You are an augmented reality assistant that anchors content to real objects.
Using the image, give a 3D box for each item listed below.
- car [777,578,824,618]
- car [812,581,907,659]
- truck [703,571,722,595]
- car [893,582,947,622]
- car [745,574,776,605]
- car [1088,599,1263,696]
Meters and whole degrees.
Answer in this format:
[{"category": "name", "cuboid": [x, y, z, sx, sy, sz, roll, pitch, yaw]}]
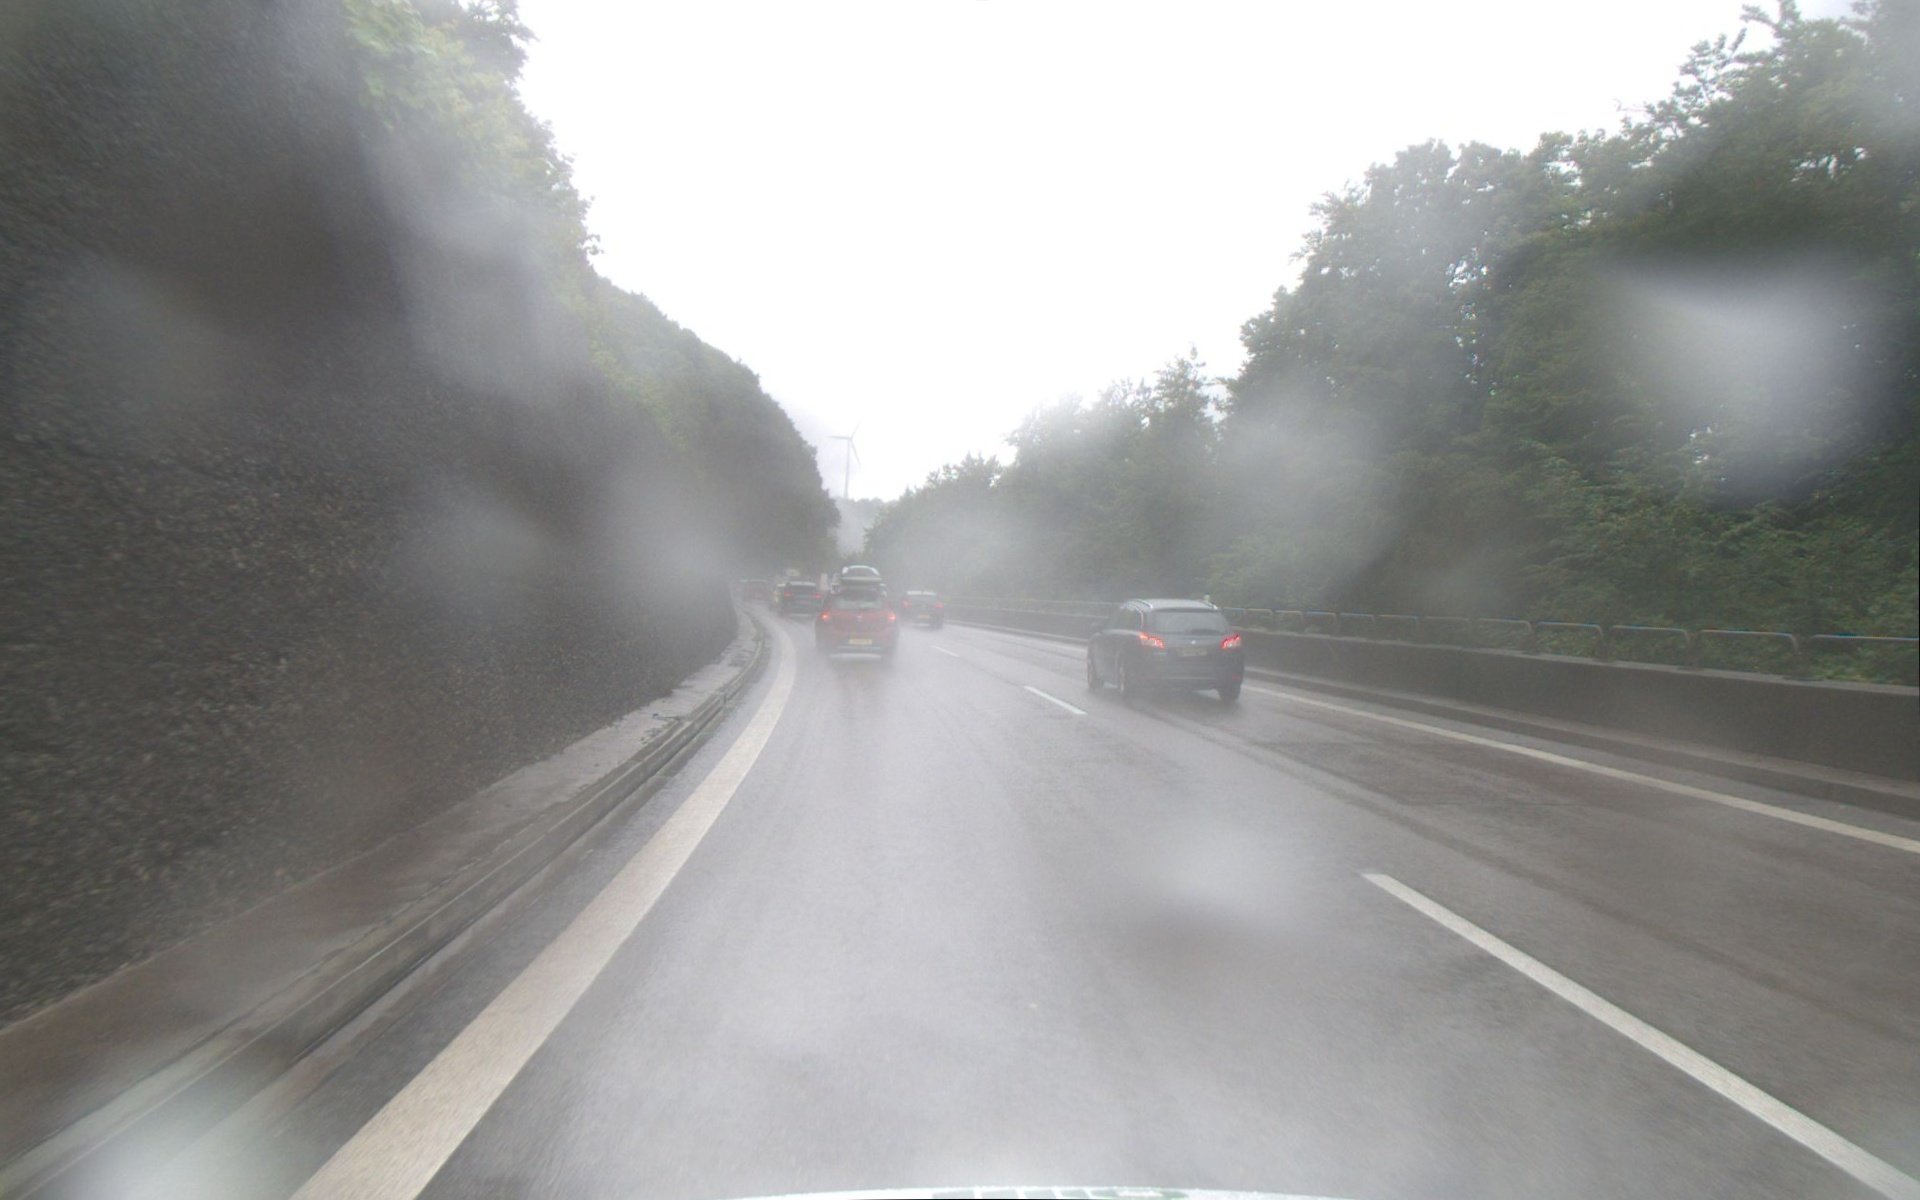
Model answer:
[{"category": "car", "cuboid": [-7.311, -0.084, 75.550, 1.956, 1.713, 3.993, 2, -1, -8]}, {"category": "car", "cuboid": [-2.259, 0.422, 36.274, 1.955, 1.579, 3.995, 1, 0, -5]}, {"category": "truck", "cuboid": [-30.762, -2.085, 205.378, 1.958, 2.798, 5.573, 4, 0, -10]}, {"category": "car", "cuboid": [-1.674, 0.061, 67.596, 1.955, 1.579, 3.996, 0, 0, -5]}, {"category": "car", "cuboid": [-14.084, -0.729, 116.533, 1.957, 2.049, 3.991, 2, -1, -9]}, {"category": "car", "cuboid": [3.183, 0.666, 25.187, 1.766, 1.330, 3.995, 0, 0, -6]}]
